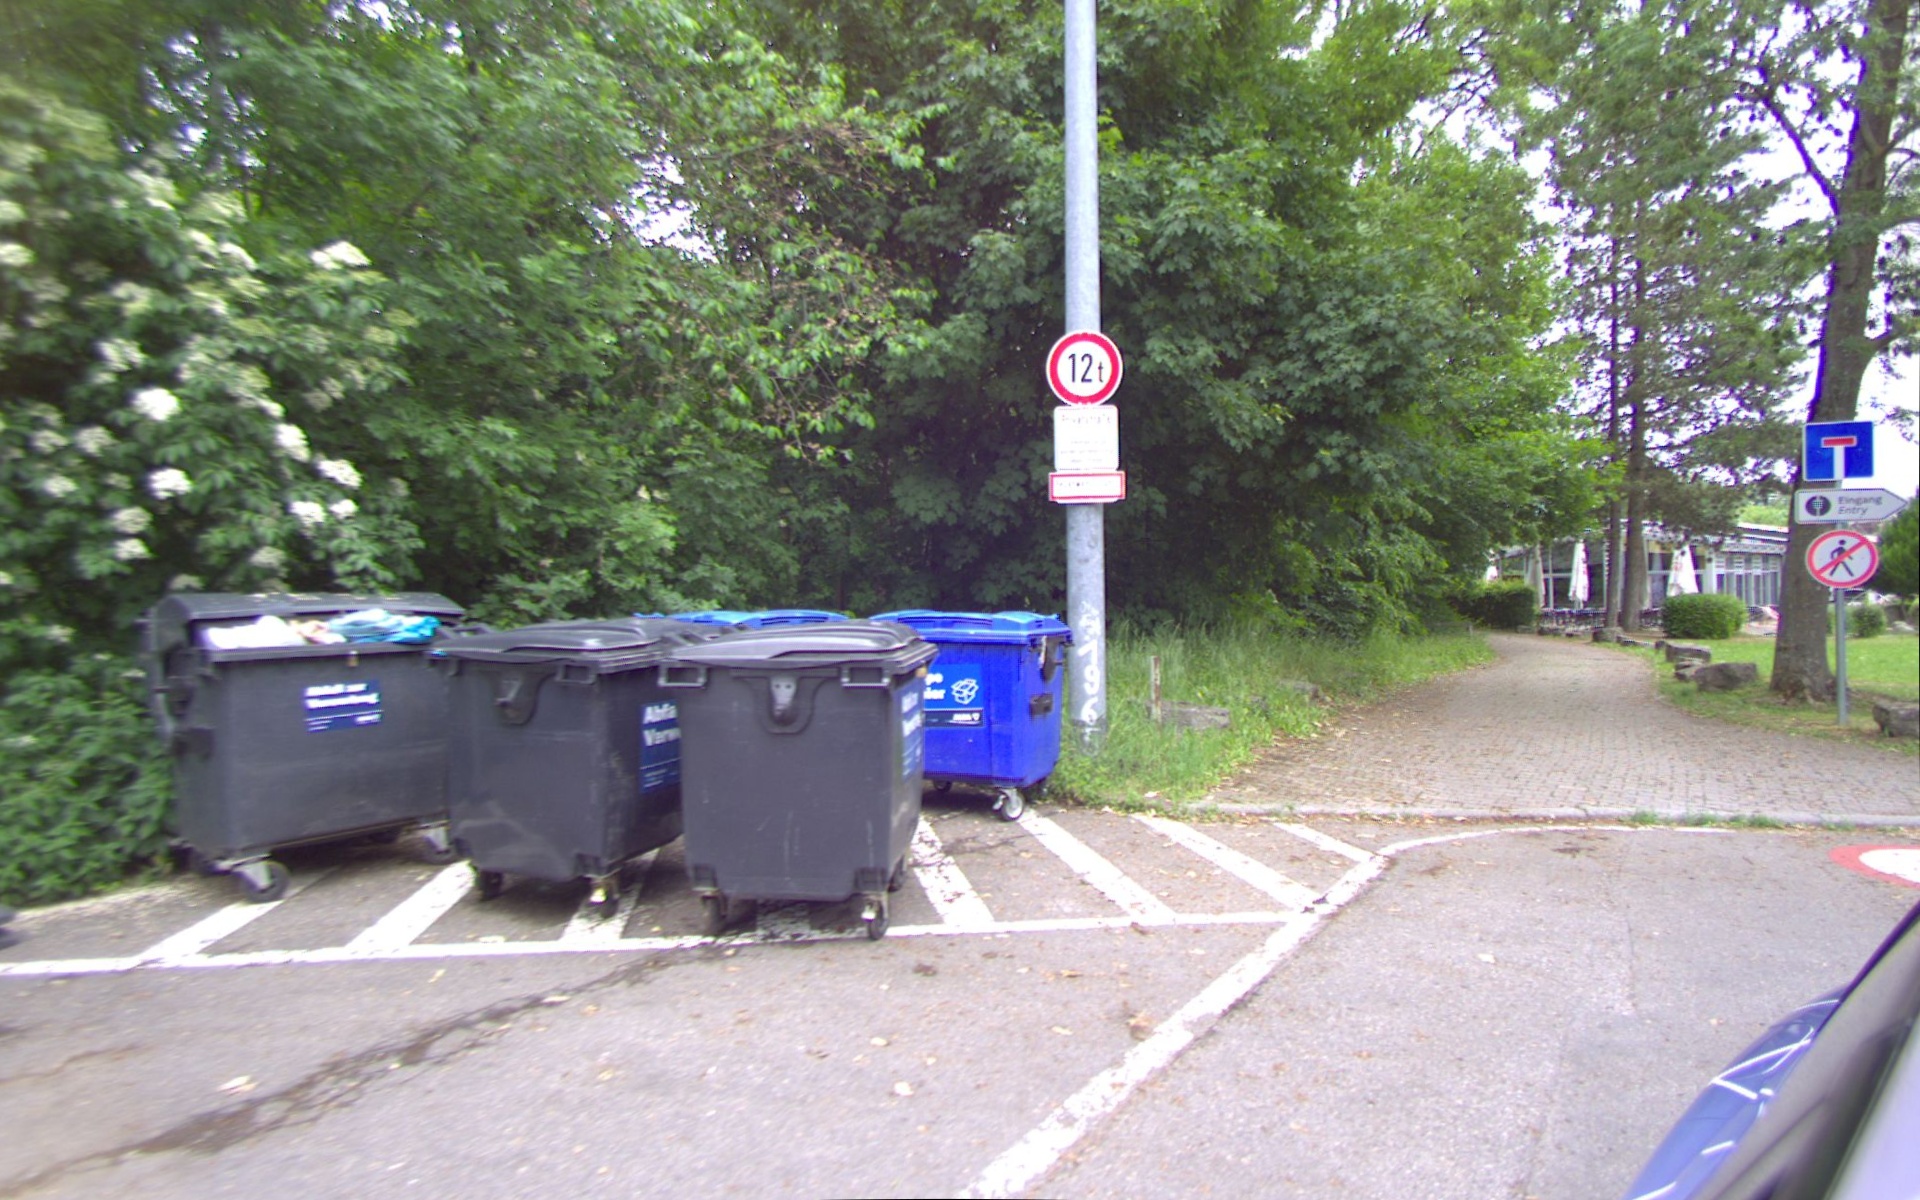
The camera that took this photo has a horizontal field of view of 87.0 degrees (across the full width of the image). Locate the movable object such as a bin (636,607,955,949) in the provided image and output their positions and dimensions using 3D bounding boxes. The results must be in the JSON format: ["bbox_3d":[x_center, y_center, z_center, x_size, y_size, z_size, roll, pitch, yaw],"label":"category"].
[{"bbox_3d":[-0.675,0.709,4.711,1.152,1.324,1.311,0,0,7],"label":"movable object such as a bin"}]

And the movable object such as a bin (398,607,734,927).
[{"bbox_3d":[-1.835,0.713,4.933,1.108,1.331,1.182,0,0,7],"label":"movable object such as a bin"}]

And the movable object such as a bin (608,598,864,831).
[{"bbox_3d":[-1.447,0.662,6.666,1.118,1.337,1.226,0,0,32],"label":"movable object such as a bin"}]

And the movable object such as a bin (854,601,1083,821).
[{"bbox_3d":[0.091,0.684,7.012,1.243,1.341,1.137,0,0,24],"label":"movable object such as a bin"}]

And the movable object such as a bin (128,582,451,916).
[{"bbox_3d":[-3.417,0.639,5.175,1.122,1.443,1.114,0,0,40],"label":"movable object such as a bin"}]
